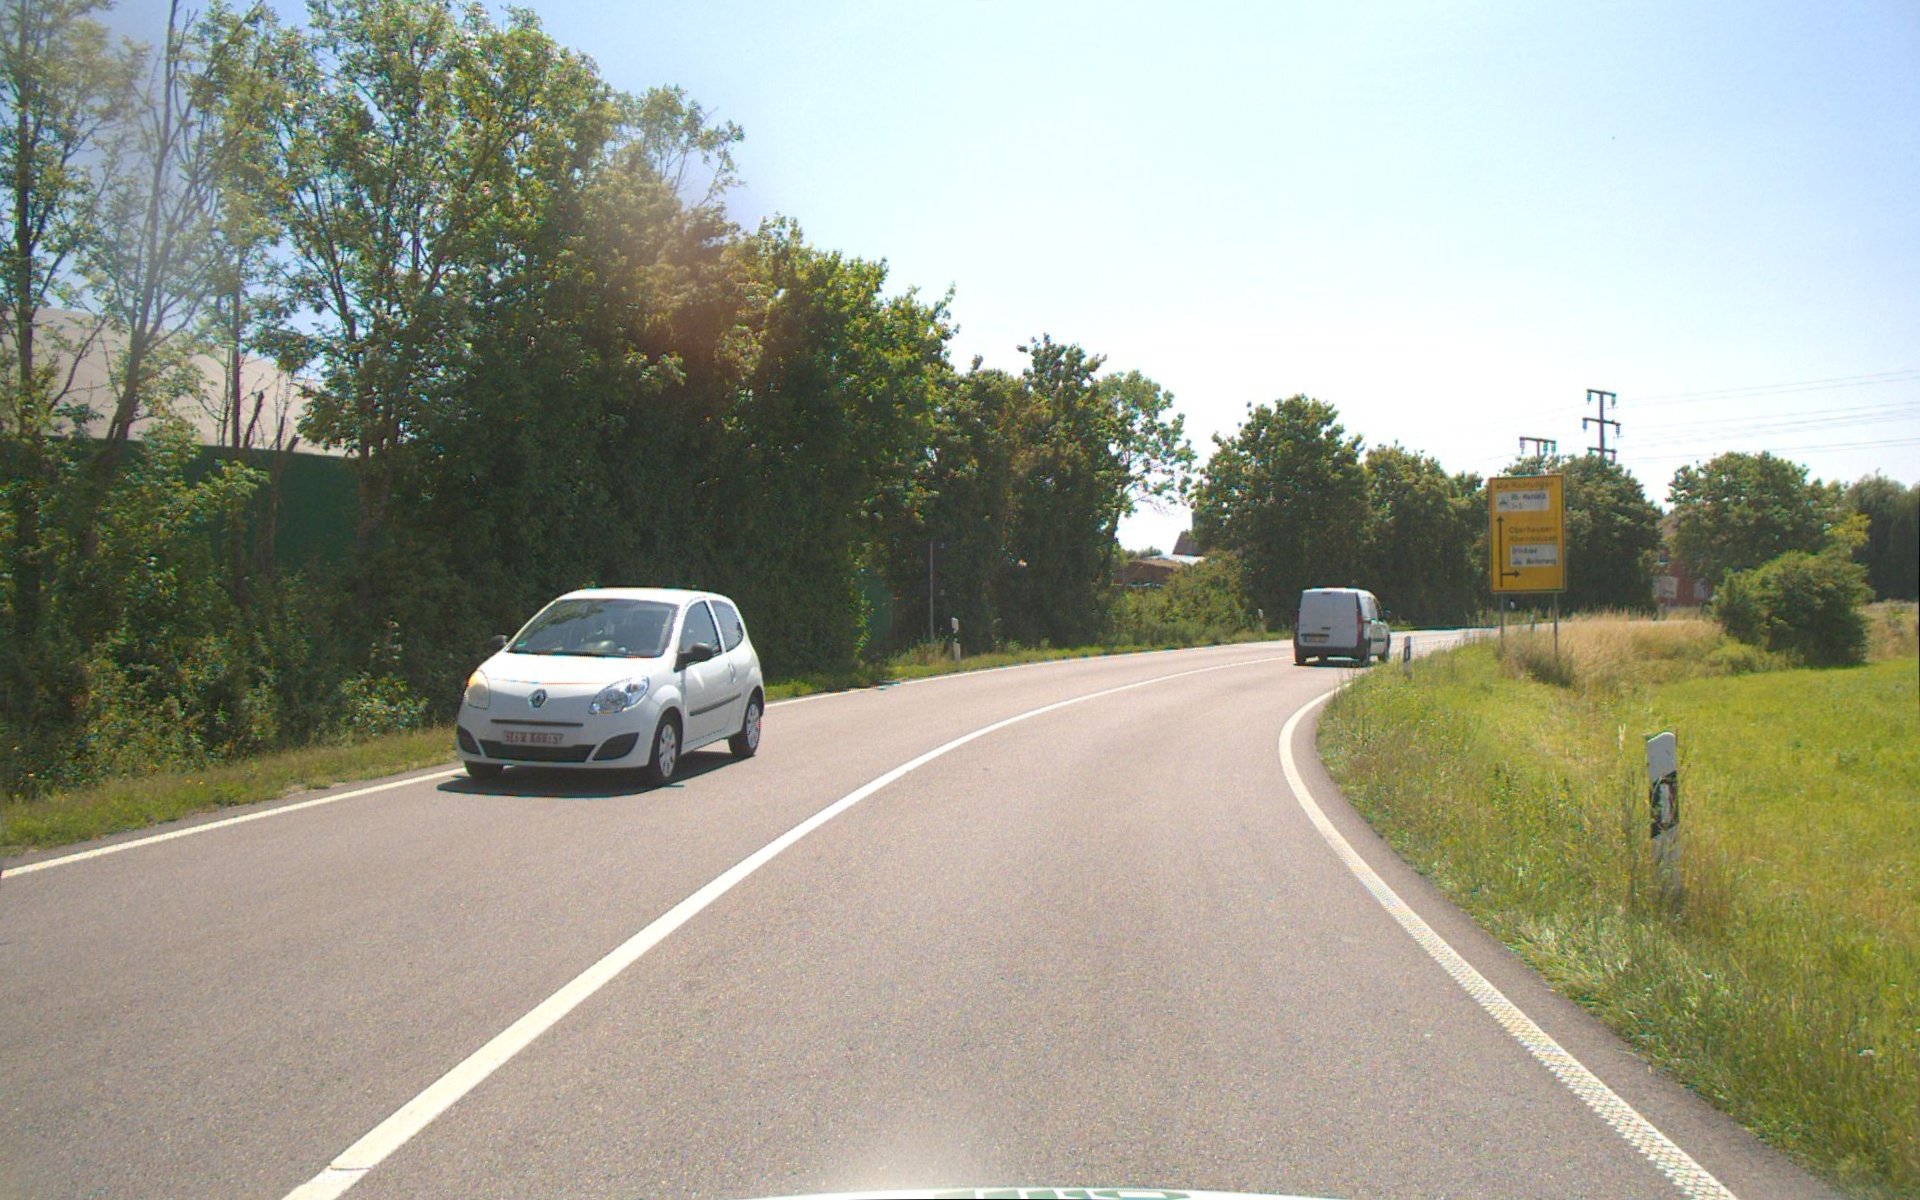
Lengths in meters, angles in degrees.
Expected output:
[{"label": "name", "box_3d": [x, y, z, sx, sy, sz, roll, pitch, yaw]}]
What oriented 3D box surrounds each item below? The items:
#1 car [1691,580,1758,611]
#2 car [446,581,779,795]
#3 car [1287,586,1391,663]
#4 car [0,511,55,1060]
[{"label": "car", "box_3d": [36.694, -0.198, 79.373, 3.716, 1.445, 1.697, 0, -1, -44]}, {"label": "car", "box_3d": [-2.708, 0.651, 13.705, 1.504, 1.468, 3.610, 2, -1, 8]}, {"label": "car", "box_3d": [9.215, 0.592, 40.038, 1.864, 1.763, 3.822, -1, -1, 22]}, {"label": "car", "box_3d": [-3.878, 0.546, 3.170, 1.666, 1.666, 4.251, 1, 0, 4]}]
